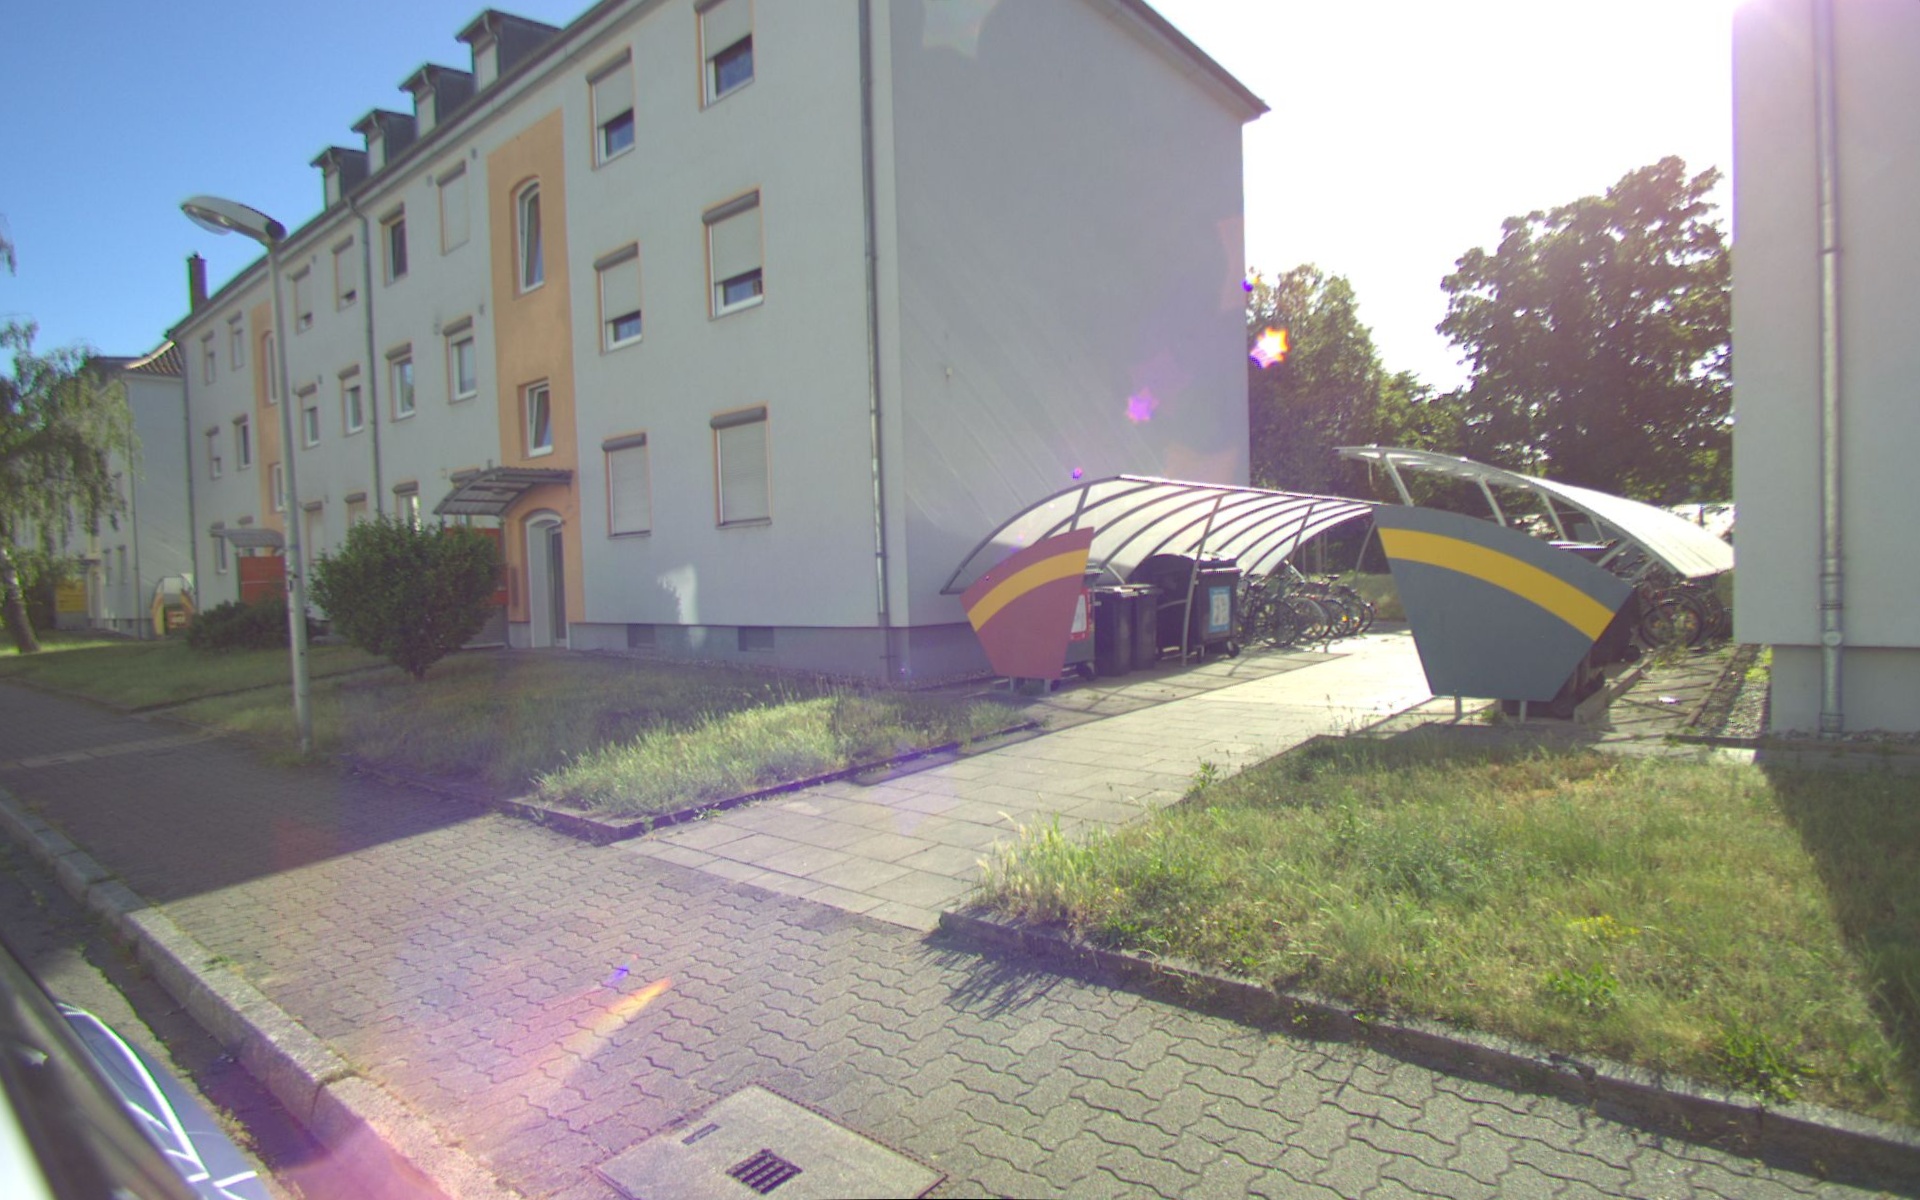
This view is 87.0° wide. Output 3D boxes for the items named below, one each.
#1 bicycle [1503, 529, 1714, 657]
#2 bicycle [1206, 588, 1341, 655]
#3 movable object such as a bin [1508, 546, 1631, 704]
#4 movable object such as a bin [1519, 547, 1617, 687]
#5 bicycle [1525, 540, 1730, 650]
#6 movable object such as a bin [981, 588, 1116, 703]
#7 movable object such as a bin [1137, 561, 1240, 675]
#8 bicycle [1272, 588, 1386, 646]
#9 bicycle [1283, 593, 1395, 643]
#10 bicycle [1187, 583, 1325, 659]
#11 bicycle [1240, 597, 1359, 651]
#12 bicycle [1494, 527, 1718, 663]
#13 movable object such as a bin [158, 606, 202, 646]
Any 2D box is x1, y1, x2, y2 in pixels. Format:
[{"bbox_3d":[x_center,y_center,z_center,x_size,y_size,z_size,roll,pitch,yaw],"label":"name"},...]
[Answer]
[{"bbox_3d":[8.366,-0.073,13.131,2.197,1.536,0.656,-2,1,41],"label":"bicycle"},{"bbox_3d":[4.847,0.340,15.739,1.928,0.955,0.544,-2,2,41],"label":"bicycle"},{"bbox_3d":[5.693,0.215,9.519,0.903,1.366,1.241,-2,0,29],"label":"movable object such as a bin"},{"bbox_3d":[6.353,0.151,10.614,0.800,1.358,1.246,-2,1,30],"label":"movable object such as a bin"},{"bbox_3d":[8.927,-0.049,13.603,2.197,1.367,0.695,-2,2,41],"label":"bicycle"},{"bbox_3d":[1.019,0.483,11.495,0.909,1.177,1.300,-2,1,40],"label":"movable object such as a bin"},{"bbox_3d":[3.083,0.229,13.628,0.946,1.453,1.048,-2,1,40],"label":"movable object such as a bin"},{"bbox_3d":[6.220,0.294,17.127,1.732,0.916,0.503,-2,2,41],"label":"bicycle"},{"bbox_3d":[6.566,0.312,17.596,1.732,0.803,0.503,-2,2,41],"label":"bicycle"},{"bbox_3d":[4.426,0.315,15.242,1.940,1.075,0.503,-2,2,41],"label":"bicycle"},{"bbox_3d":[5.436,0.389,16.266,1.732,0.803,0.503,-2,2,41],"label":"bicycle"},{"bbox_3d":[7.823,-0.048,12.333,2.197,1.521,0.695,-2,2,41],"label":"bicycle"},{"bbox_3d":[-28.600,0.950,37.106,0.812,1.416,1.073,-2,1,41],"label":"movable object such as a bin"}]
